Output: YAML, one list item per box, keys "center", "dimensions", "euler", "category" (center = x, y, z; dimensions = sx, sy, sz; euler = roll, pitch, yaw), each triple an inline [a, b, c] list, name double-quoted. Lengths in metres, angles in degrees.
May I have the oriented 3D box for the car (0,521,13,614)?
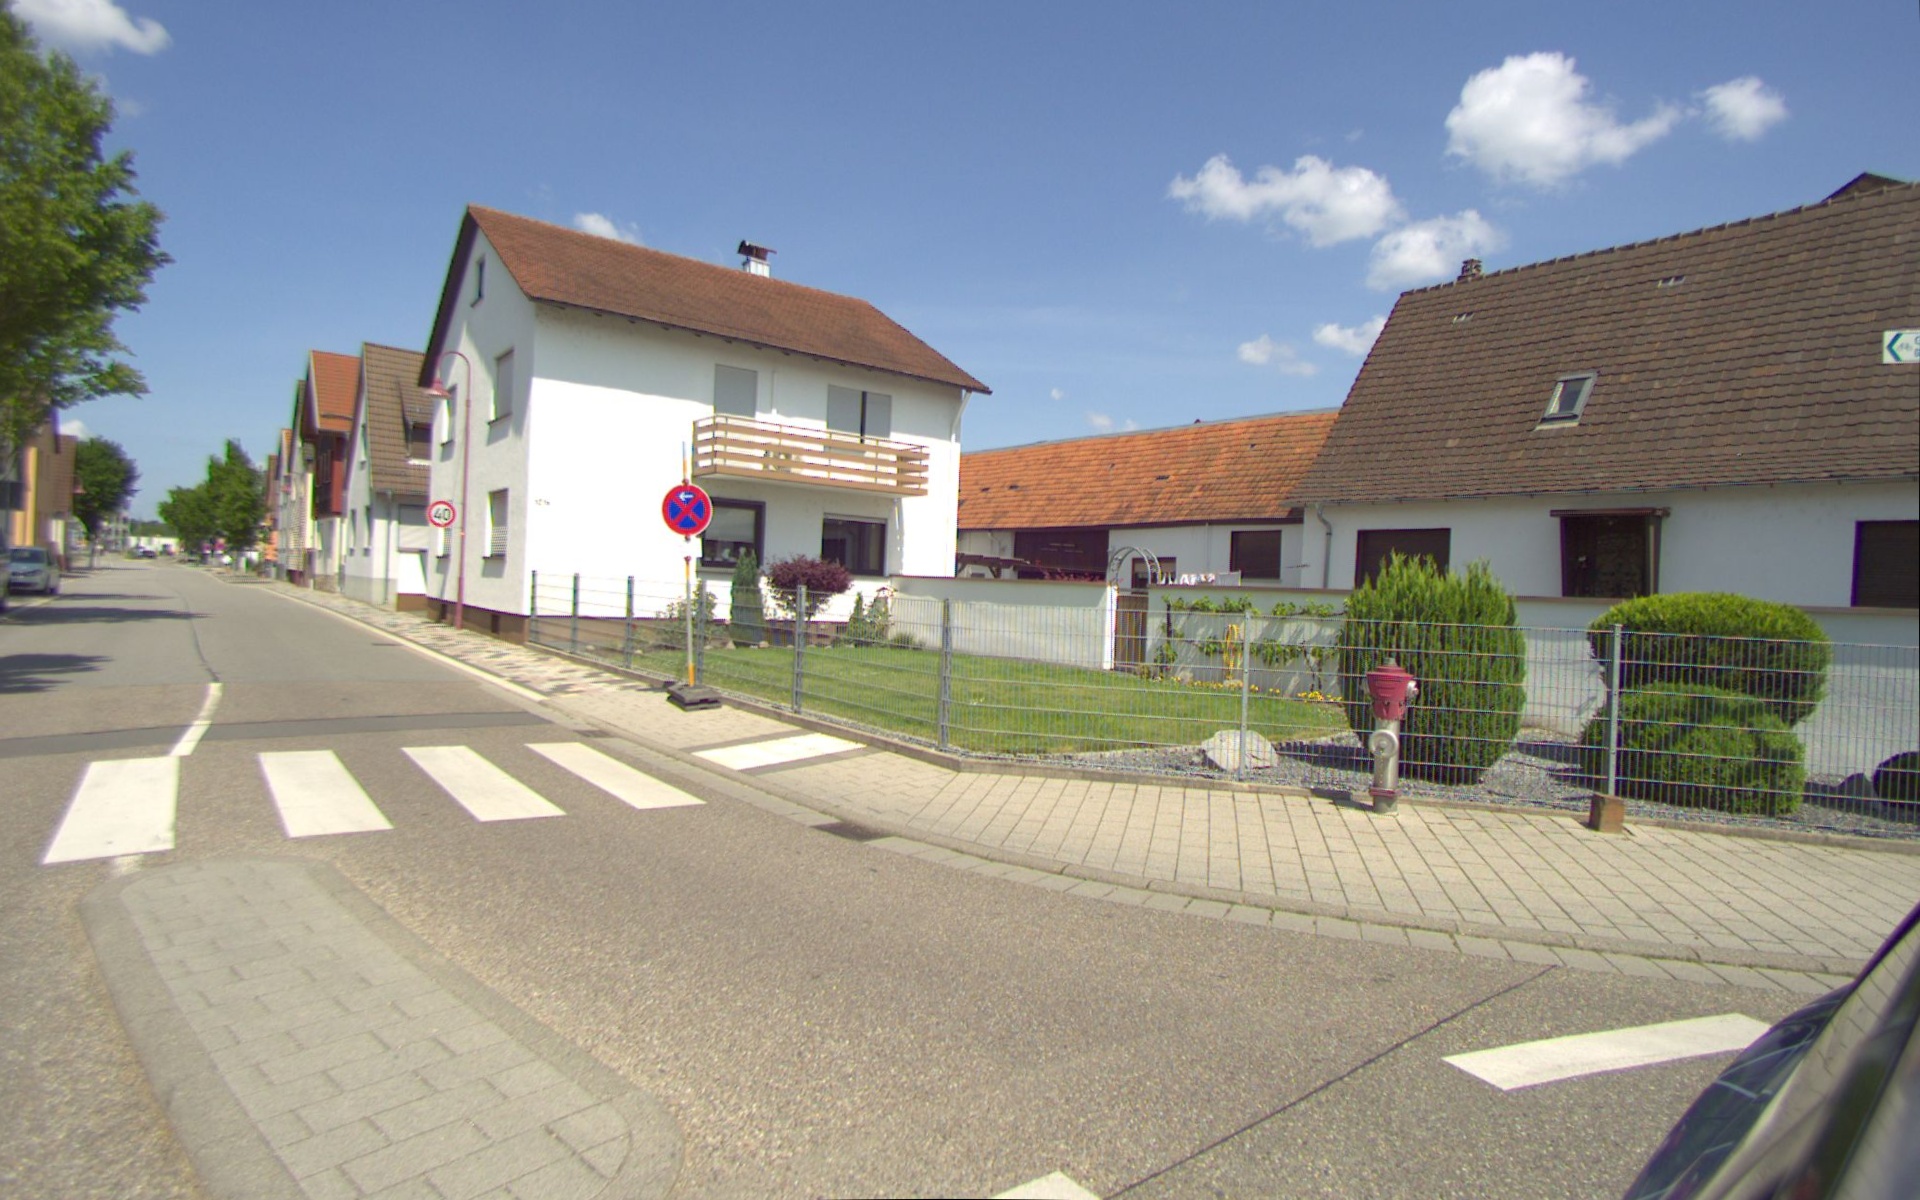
- center: [-20.664, -0.700, 20.329]
  dimensions: [1.964, 1.963, 4.475]
  euler: [3, 0, -39]
  category: "car"

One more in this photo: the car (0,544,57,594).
- center: [-28.708, -0.968, 30.729]
  dimensions: [1.656, 1.399, 3.557]
  euler: [3, 0, -39]
  category: "car"
